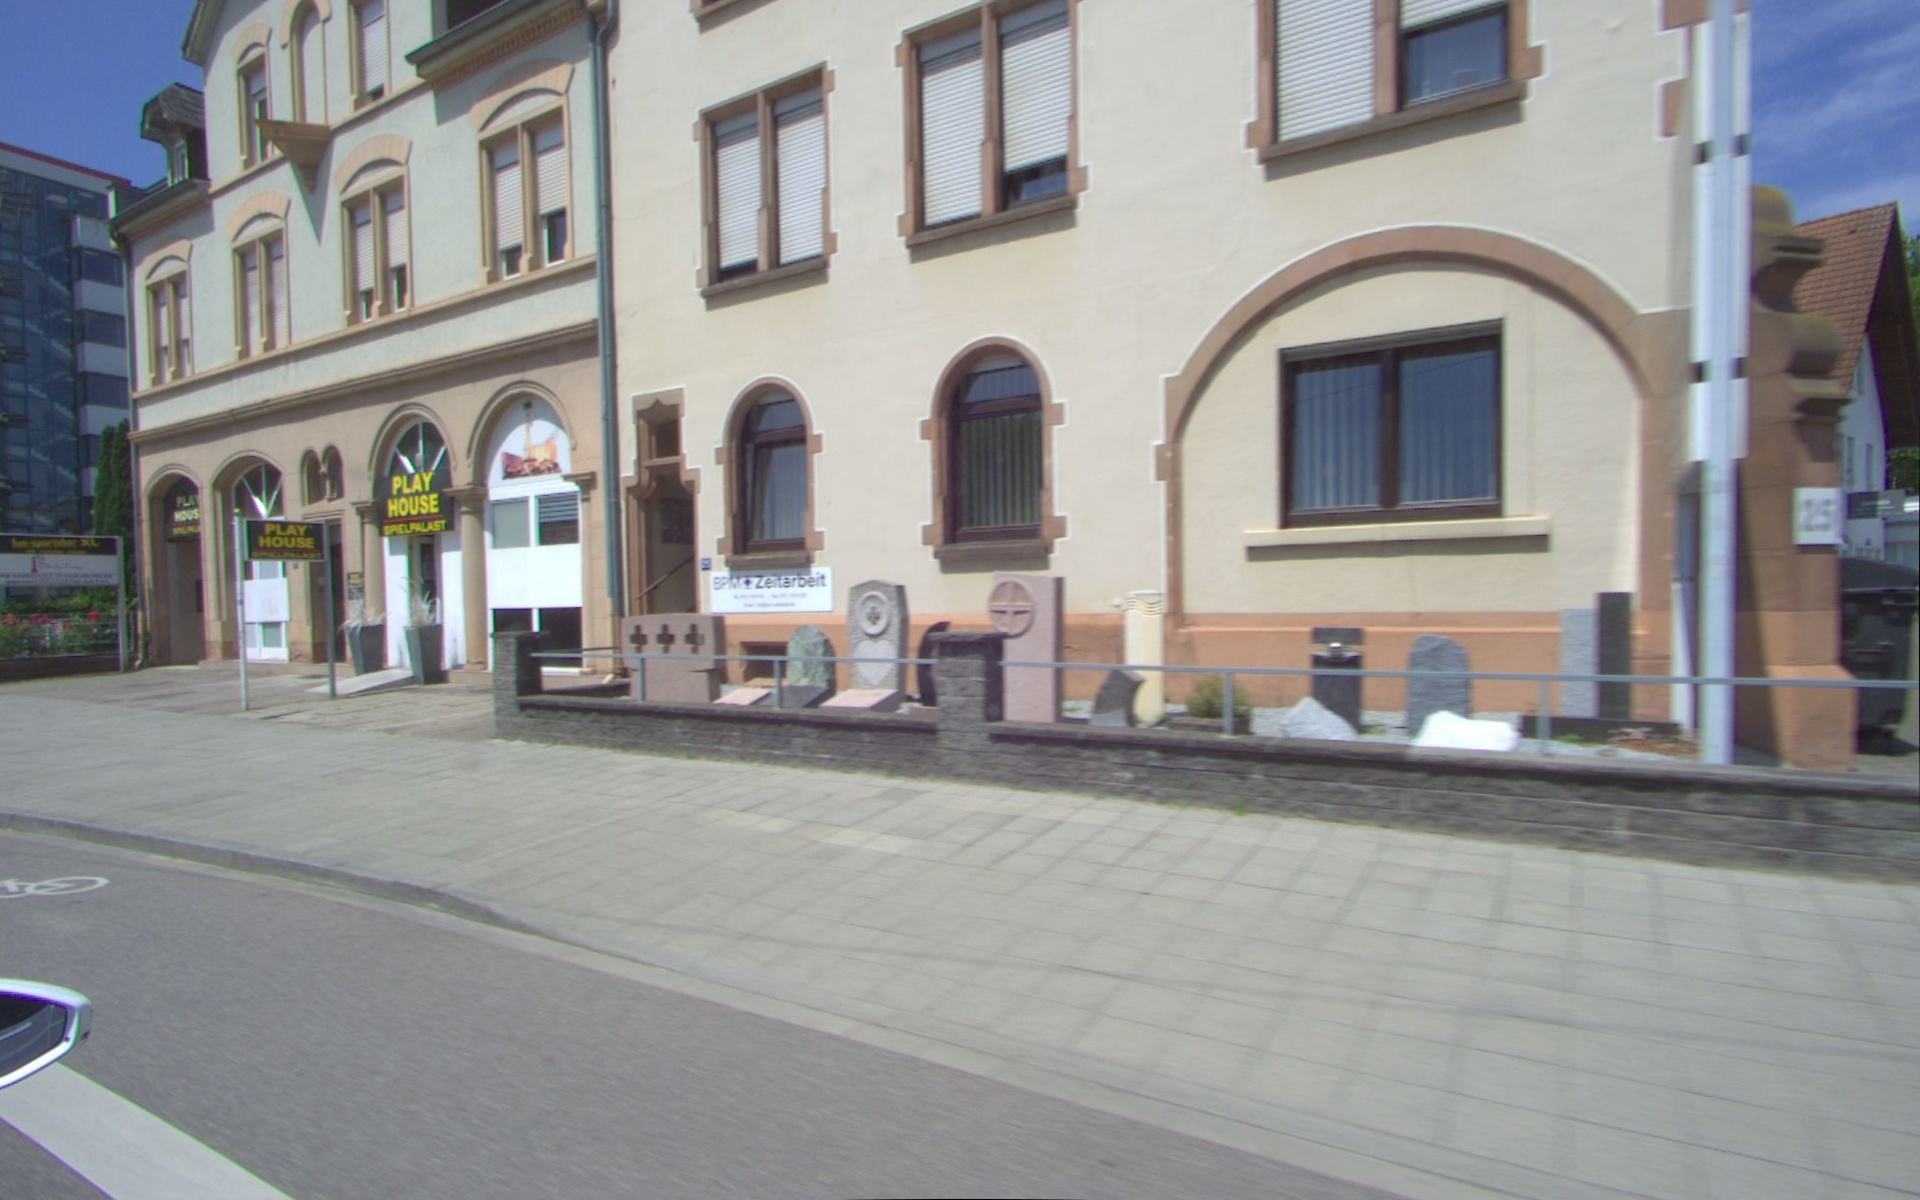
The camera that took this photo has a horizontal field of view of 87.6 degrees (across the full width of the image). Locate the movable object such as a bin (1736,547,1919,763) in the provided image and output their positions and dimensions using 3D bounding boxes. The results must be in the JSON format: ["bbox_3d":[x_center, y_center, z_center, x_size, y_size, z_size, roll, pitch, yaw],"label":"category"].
[{"bbox_3d":[6.765,0.365,7.799,1.032,1.520,1.325,0,2,33],"label":"movable object such as a bin"}]

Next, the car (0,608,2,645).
[{"bbox_3d":[-39.586,1.082,38.153,1.791,1.479,4.140,-1,1,32],"label":"car"}]
